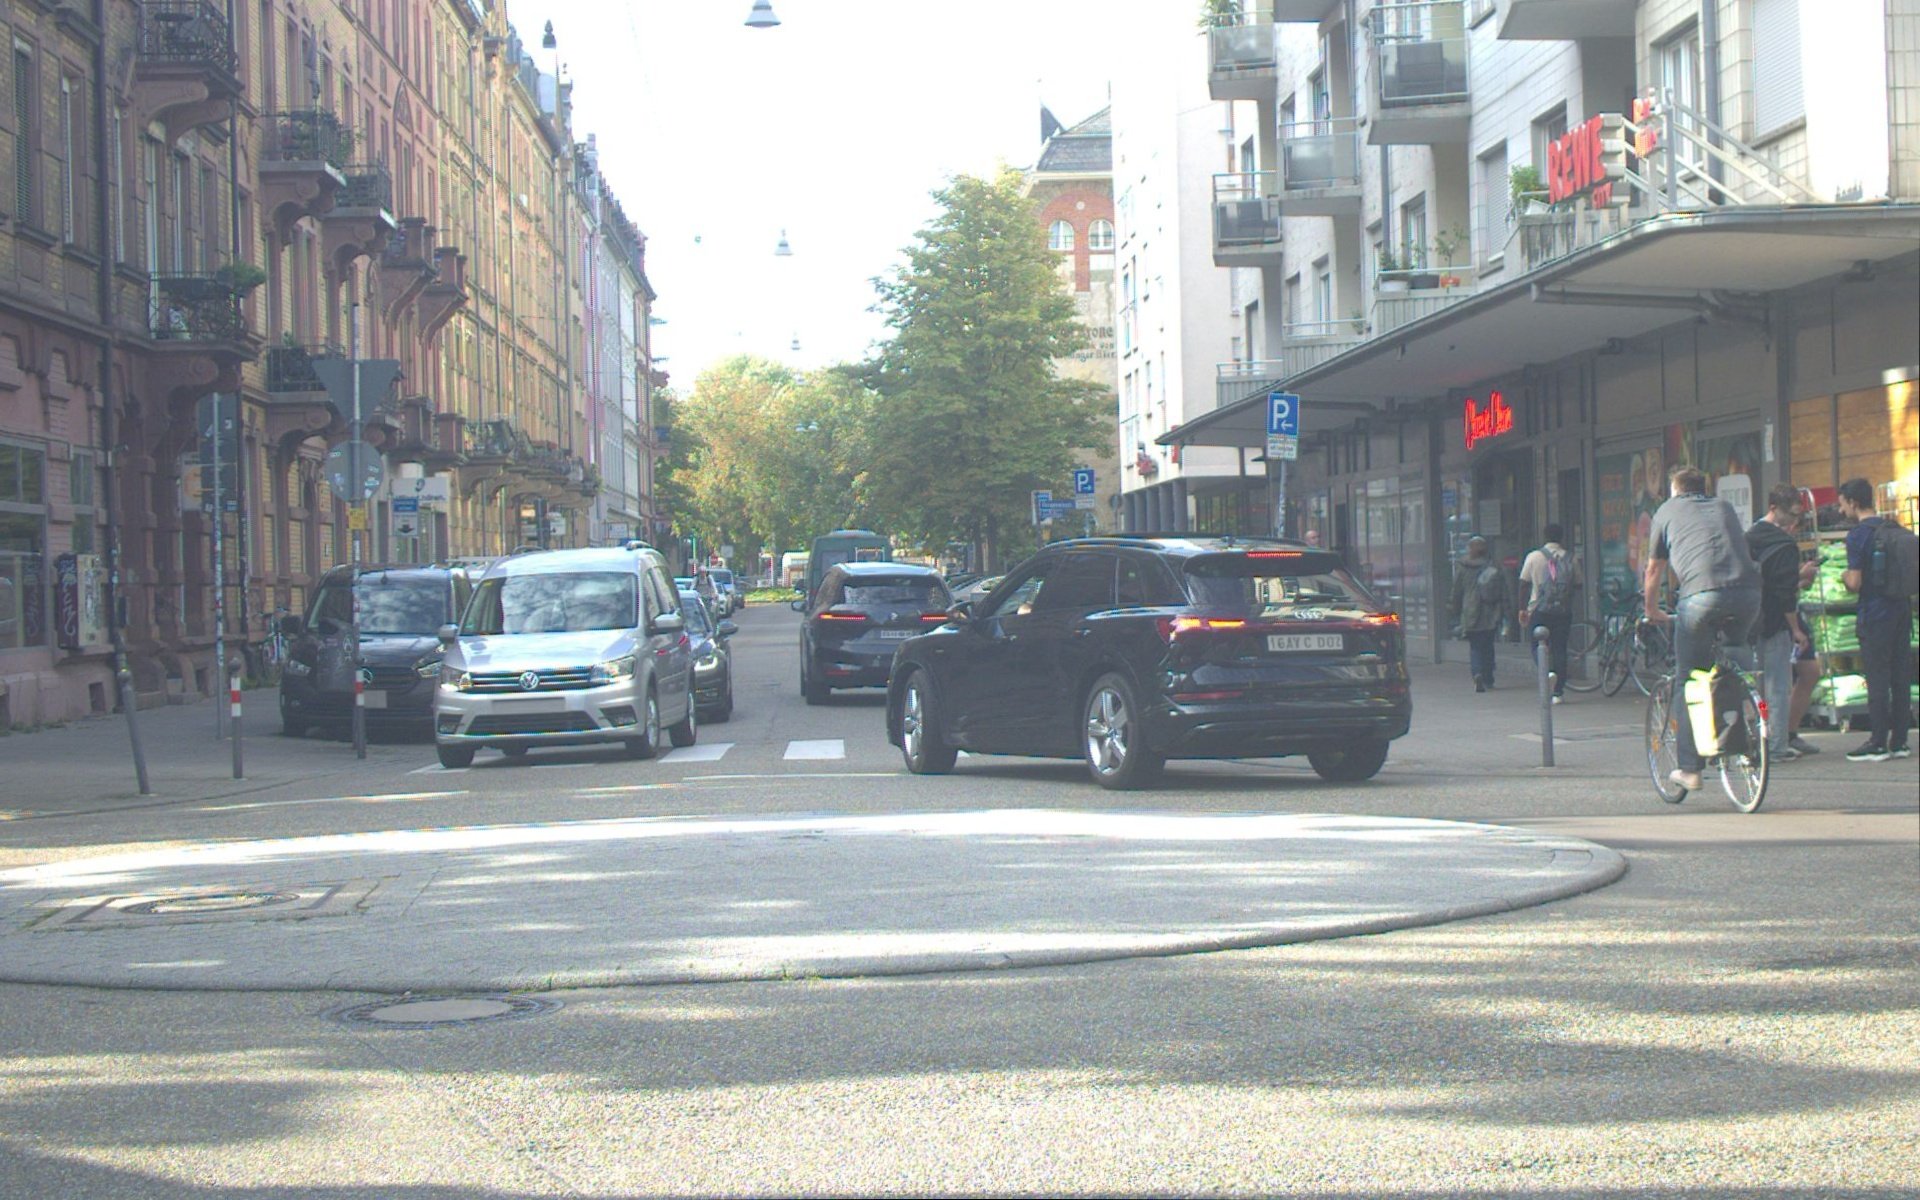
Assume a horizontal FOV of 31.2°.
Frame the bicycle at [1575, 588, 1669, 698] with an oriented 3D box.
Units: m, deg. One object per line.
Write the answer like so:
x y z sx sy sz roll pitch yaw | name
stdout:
6.237 0.393 32.463 0.360 0.995 1.716 -1 1 -6 | bicycle

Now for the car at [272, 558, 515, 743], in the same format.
-5.877 0.475 36.140 1.782 1.718 4.445 0 2 1 | car

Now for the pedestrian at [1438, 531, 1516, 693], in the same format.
5.323 0.118 35.384 0.745 1.623 0.812 -1 0 9 | pedestrian

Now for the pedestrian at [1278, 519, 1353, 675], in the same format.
4.335 -0.045 41.899 0.731 1.858 1.062 -1 0 13 | pedestrian

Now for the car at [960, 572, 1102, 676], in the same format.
1.057 0.343 53.466 1.993 1.481 4.000 -2 1 -1 | car

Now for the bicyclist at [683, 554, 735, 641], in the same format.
-5.800 -0.058 79.506 1.132 1.991 1.028 1 0 -6 | bicyclist

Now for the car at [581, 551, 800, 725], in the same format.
-2.917 0.367 38.136 1.928 1.719 4.736 -3 1 1 | car

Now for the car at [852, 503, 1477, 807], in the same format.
1.215 0.291 23.072 2.036 1.718 4.846 -4 2 -25 | car

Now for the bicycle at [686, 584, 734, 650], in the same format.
-5.789 0.374 79.440 0.925 1.484 3.465 1 0 -6 | bicycle

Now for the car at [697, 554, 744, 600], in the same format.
-10.882 -1.064 156.128 1.993 2.007 4.000 -1 1 -3 | car

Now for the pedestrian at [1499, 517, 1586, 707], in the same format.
5.347 0.103 31.601 0.741 1.707 0.733 -1 0 9 | pedestrian

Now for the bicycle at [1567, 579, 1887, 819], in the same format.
3.982 0.478 18.097 0.665 1.174 2.498 0 0 -12 | bicycle

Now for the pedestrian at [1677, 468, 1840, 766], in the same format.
5.063 0.106 21.830 0.869 1.845 0.612 -1 0 3 | pedestrian

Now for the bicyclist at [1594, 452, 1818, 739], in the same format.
3.928 -0.026 18.142 0.933 1.479 0.747 0 0 -12 | bicyclist

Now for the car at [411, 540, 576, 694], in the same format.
-6.502 0.216 48.289 1.993 2.007 4.001 -2 1 -4 | car

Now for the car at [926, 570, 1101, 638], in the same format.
1.264 0.077 82.638 3.986 1.481 2.000 -2 1 -4 | car

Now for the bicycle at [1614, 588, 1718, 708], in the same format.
6.169 0.405 30.101 0.362 1.013 1.431 -1 1 -10 | bicycle

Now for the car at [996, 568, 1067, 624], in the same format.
1.869 -0.124 90.373 1.645 1.320 3.576 -4 1 -1 | car

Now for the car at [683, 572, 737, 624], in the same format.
-9.946 -0.095 136.810 1.993 2.007 4.000 -1 1 -3 | car

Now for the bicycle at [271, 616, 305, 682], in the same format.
-9.981 0.724 51.105 0.360 0.944 1.716 -1 0 -7 | bicycle

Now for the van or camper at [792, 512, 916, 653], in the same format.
-2.435 -0.400 77.610 2.531 3.027 4.459 -1 1 -4 | van or camper

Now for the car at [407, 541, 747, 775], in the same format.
-3.180 0.427 29.556 1.793 1.784 4.734 -3 1 7 | car

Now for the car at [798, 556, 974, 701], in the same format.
-0.936 0.308 41.569 1.993 1.612 4.000 -1 1 -2 | car

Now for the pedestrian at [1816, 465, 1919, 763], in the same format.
5.933 0.081 21.729 0.869 1.845 0.612 -1 0 3 | pedestrian
